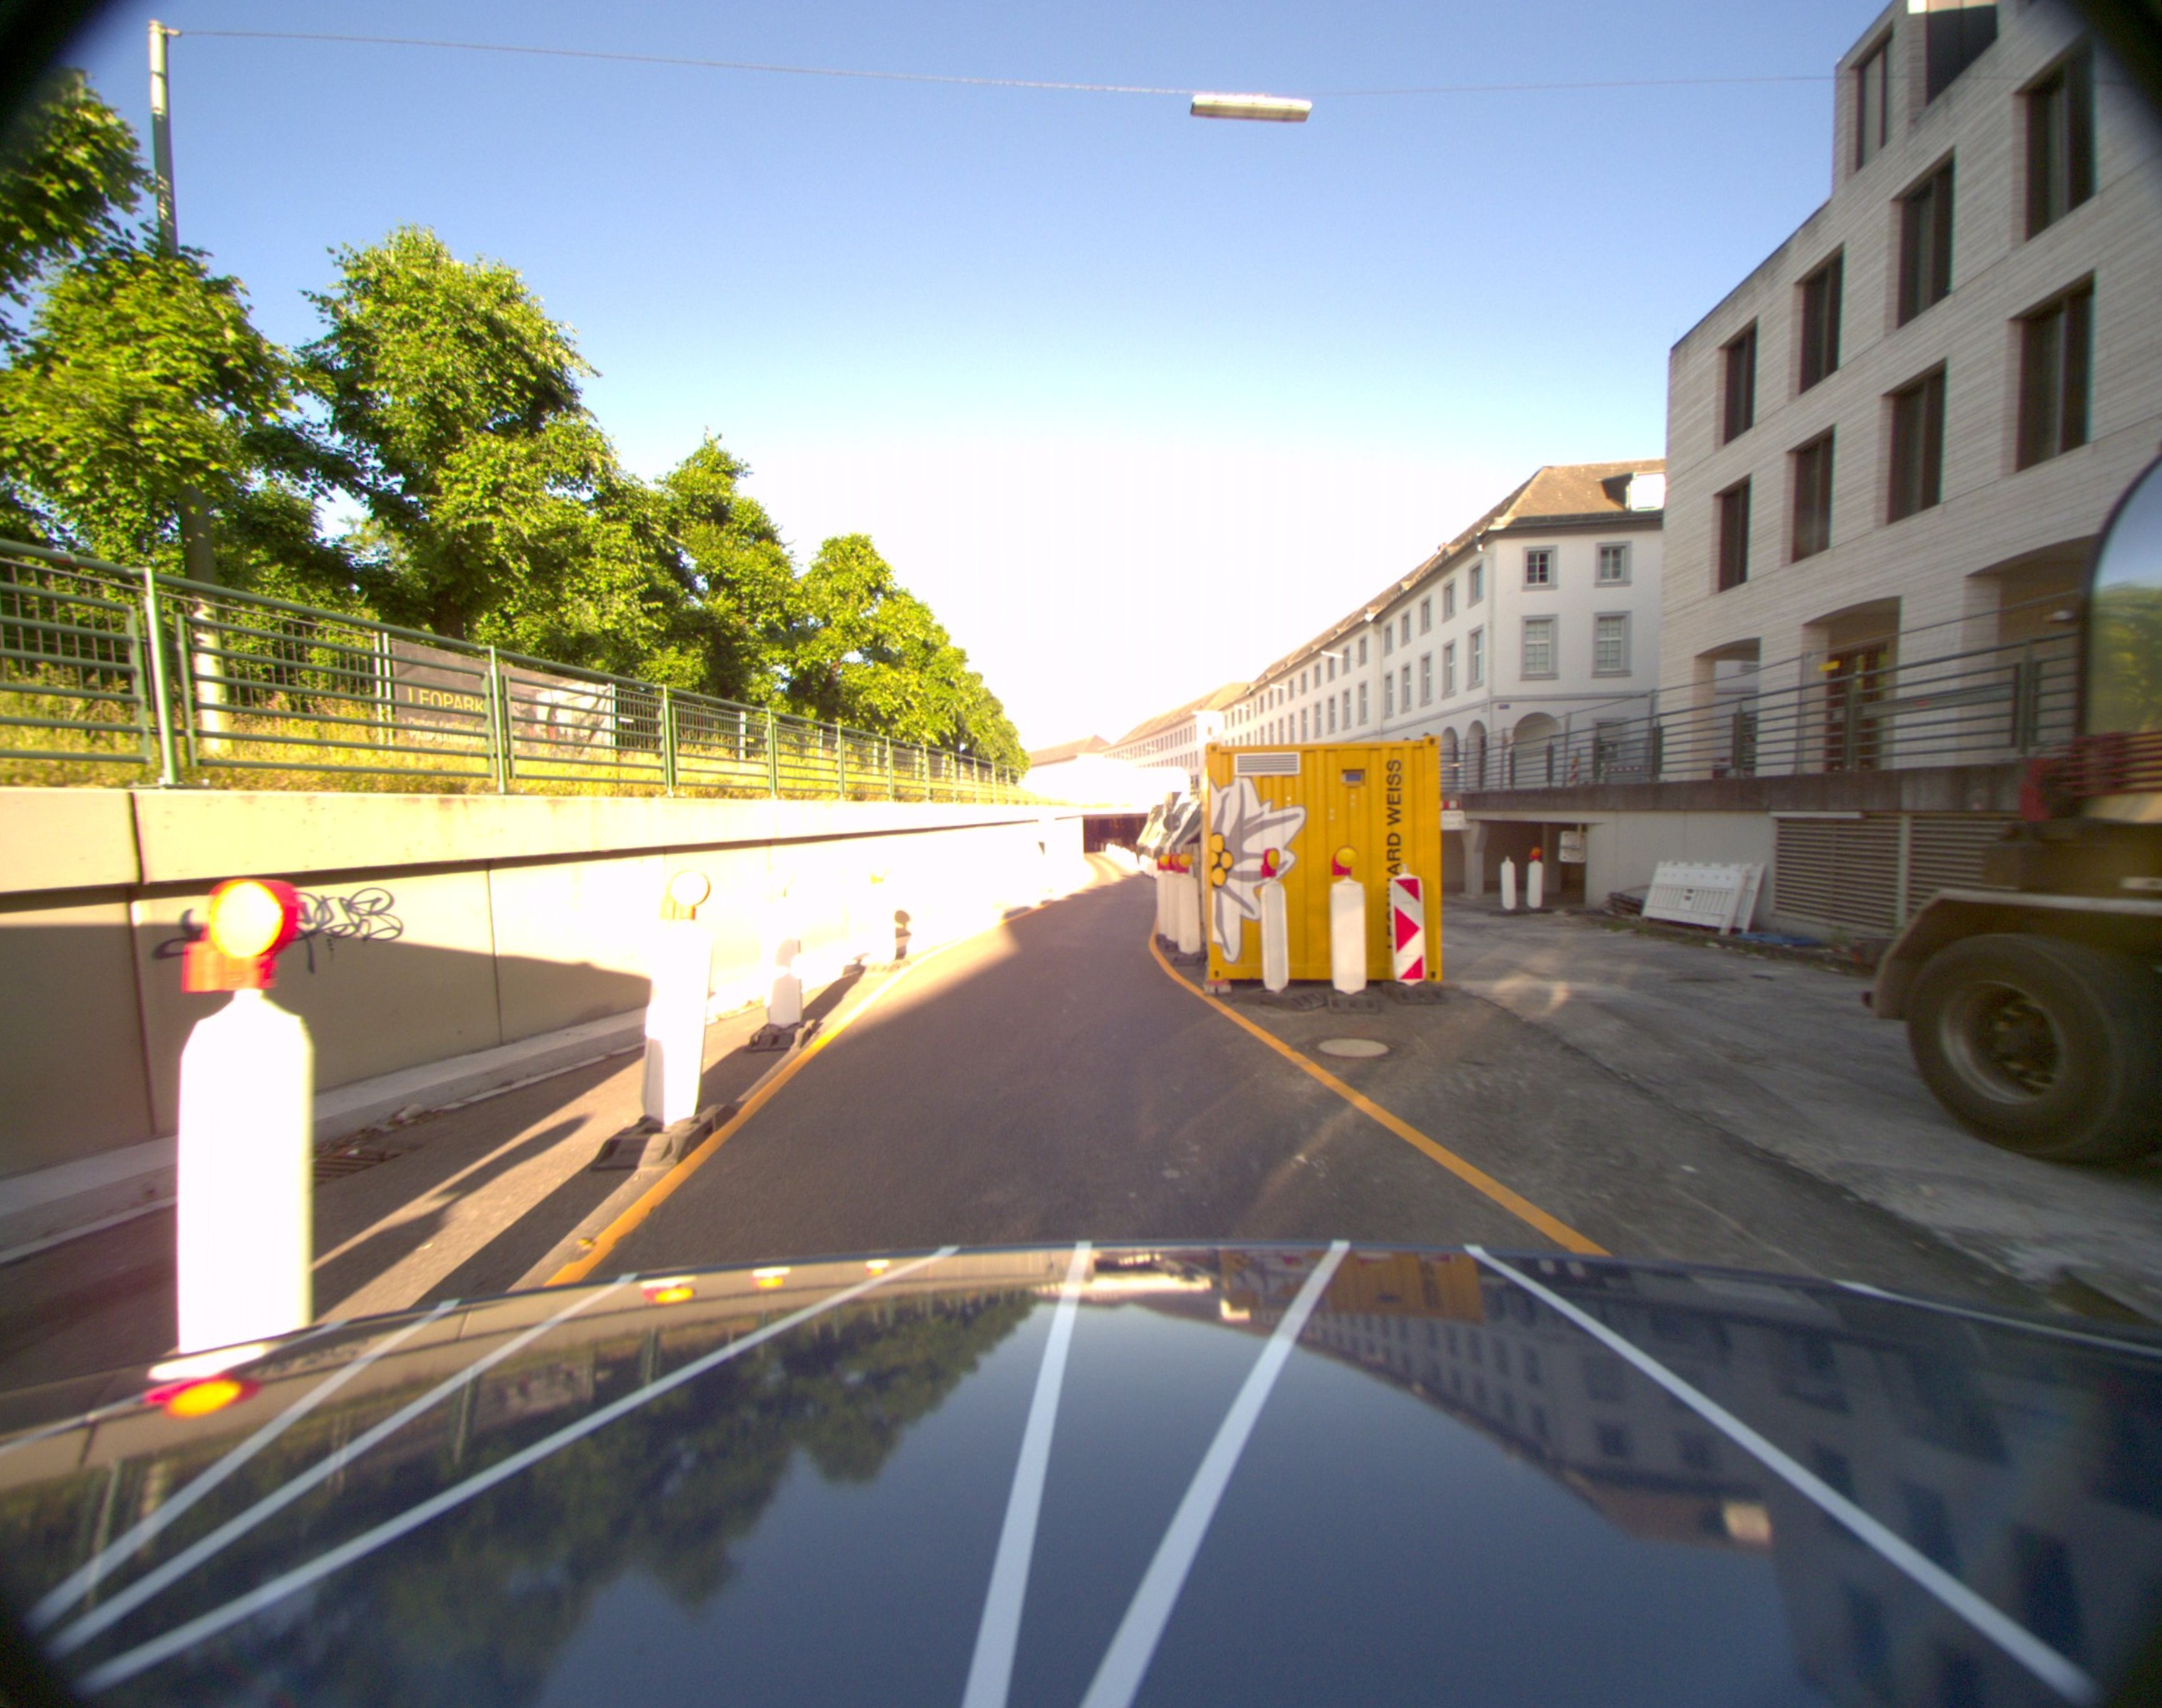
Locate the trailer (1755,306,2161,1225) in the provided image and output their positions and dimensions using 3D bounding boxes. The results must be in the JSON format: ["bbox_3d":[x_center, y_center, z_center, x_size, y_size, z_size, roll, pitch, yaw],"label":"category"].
[{"bbox_3d":[5.156,-0.292,0.580,2.646,3.648,8.754,3,2,11],"label":"trailer"}]
